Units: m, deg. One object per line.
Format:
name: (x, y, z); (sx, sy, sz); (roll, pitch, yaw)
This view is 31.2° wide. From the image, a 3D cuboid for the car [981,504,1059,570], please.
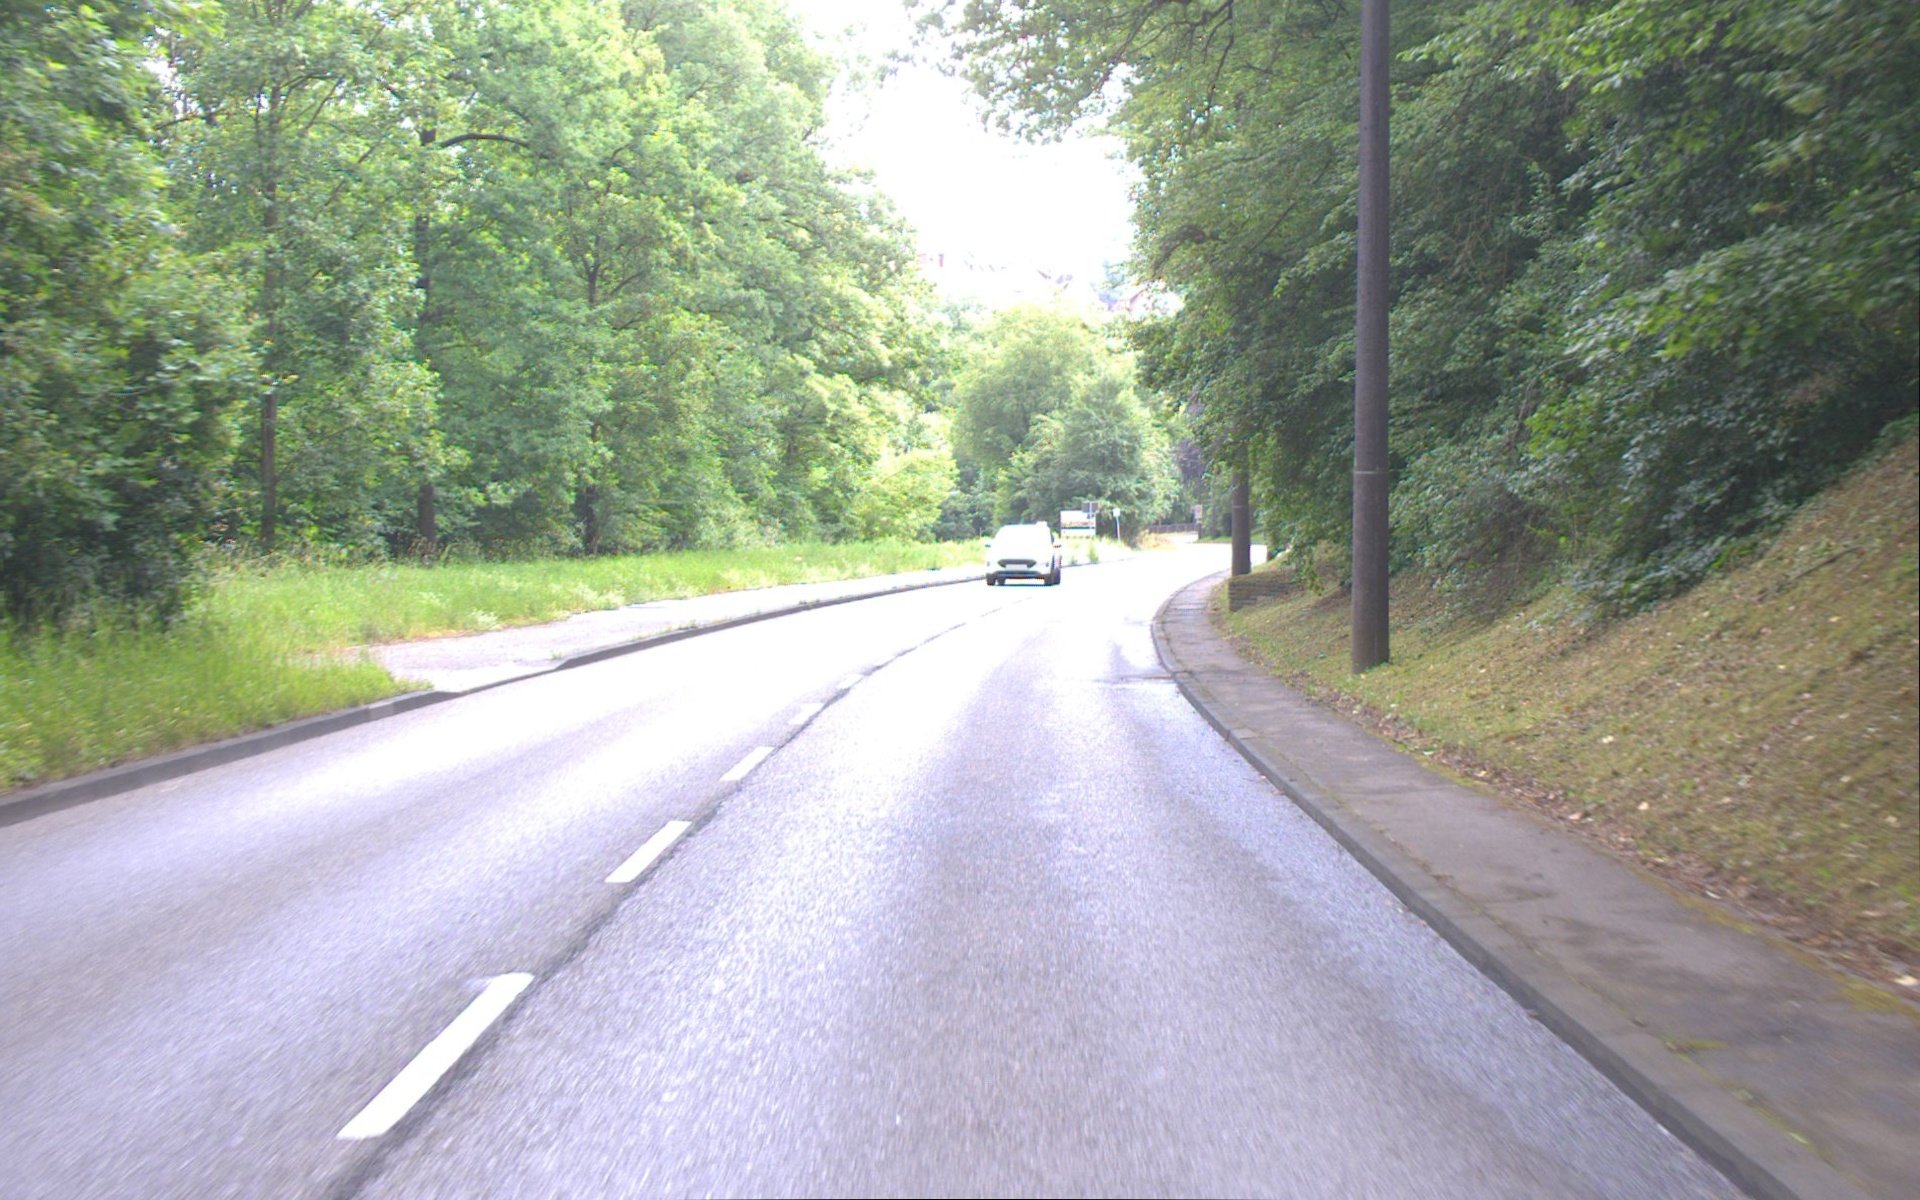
car: (1.699, -1.740, 96.126); (1.994, 1.747, 4.781); (1, 0, 3)
